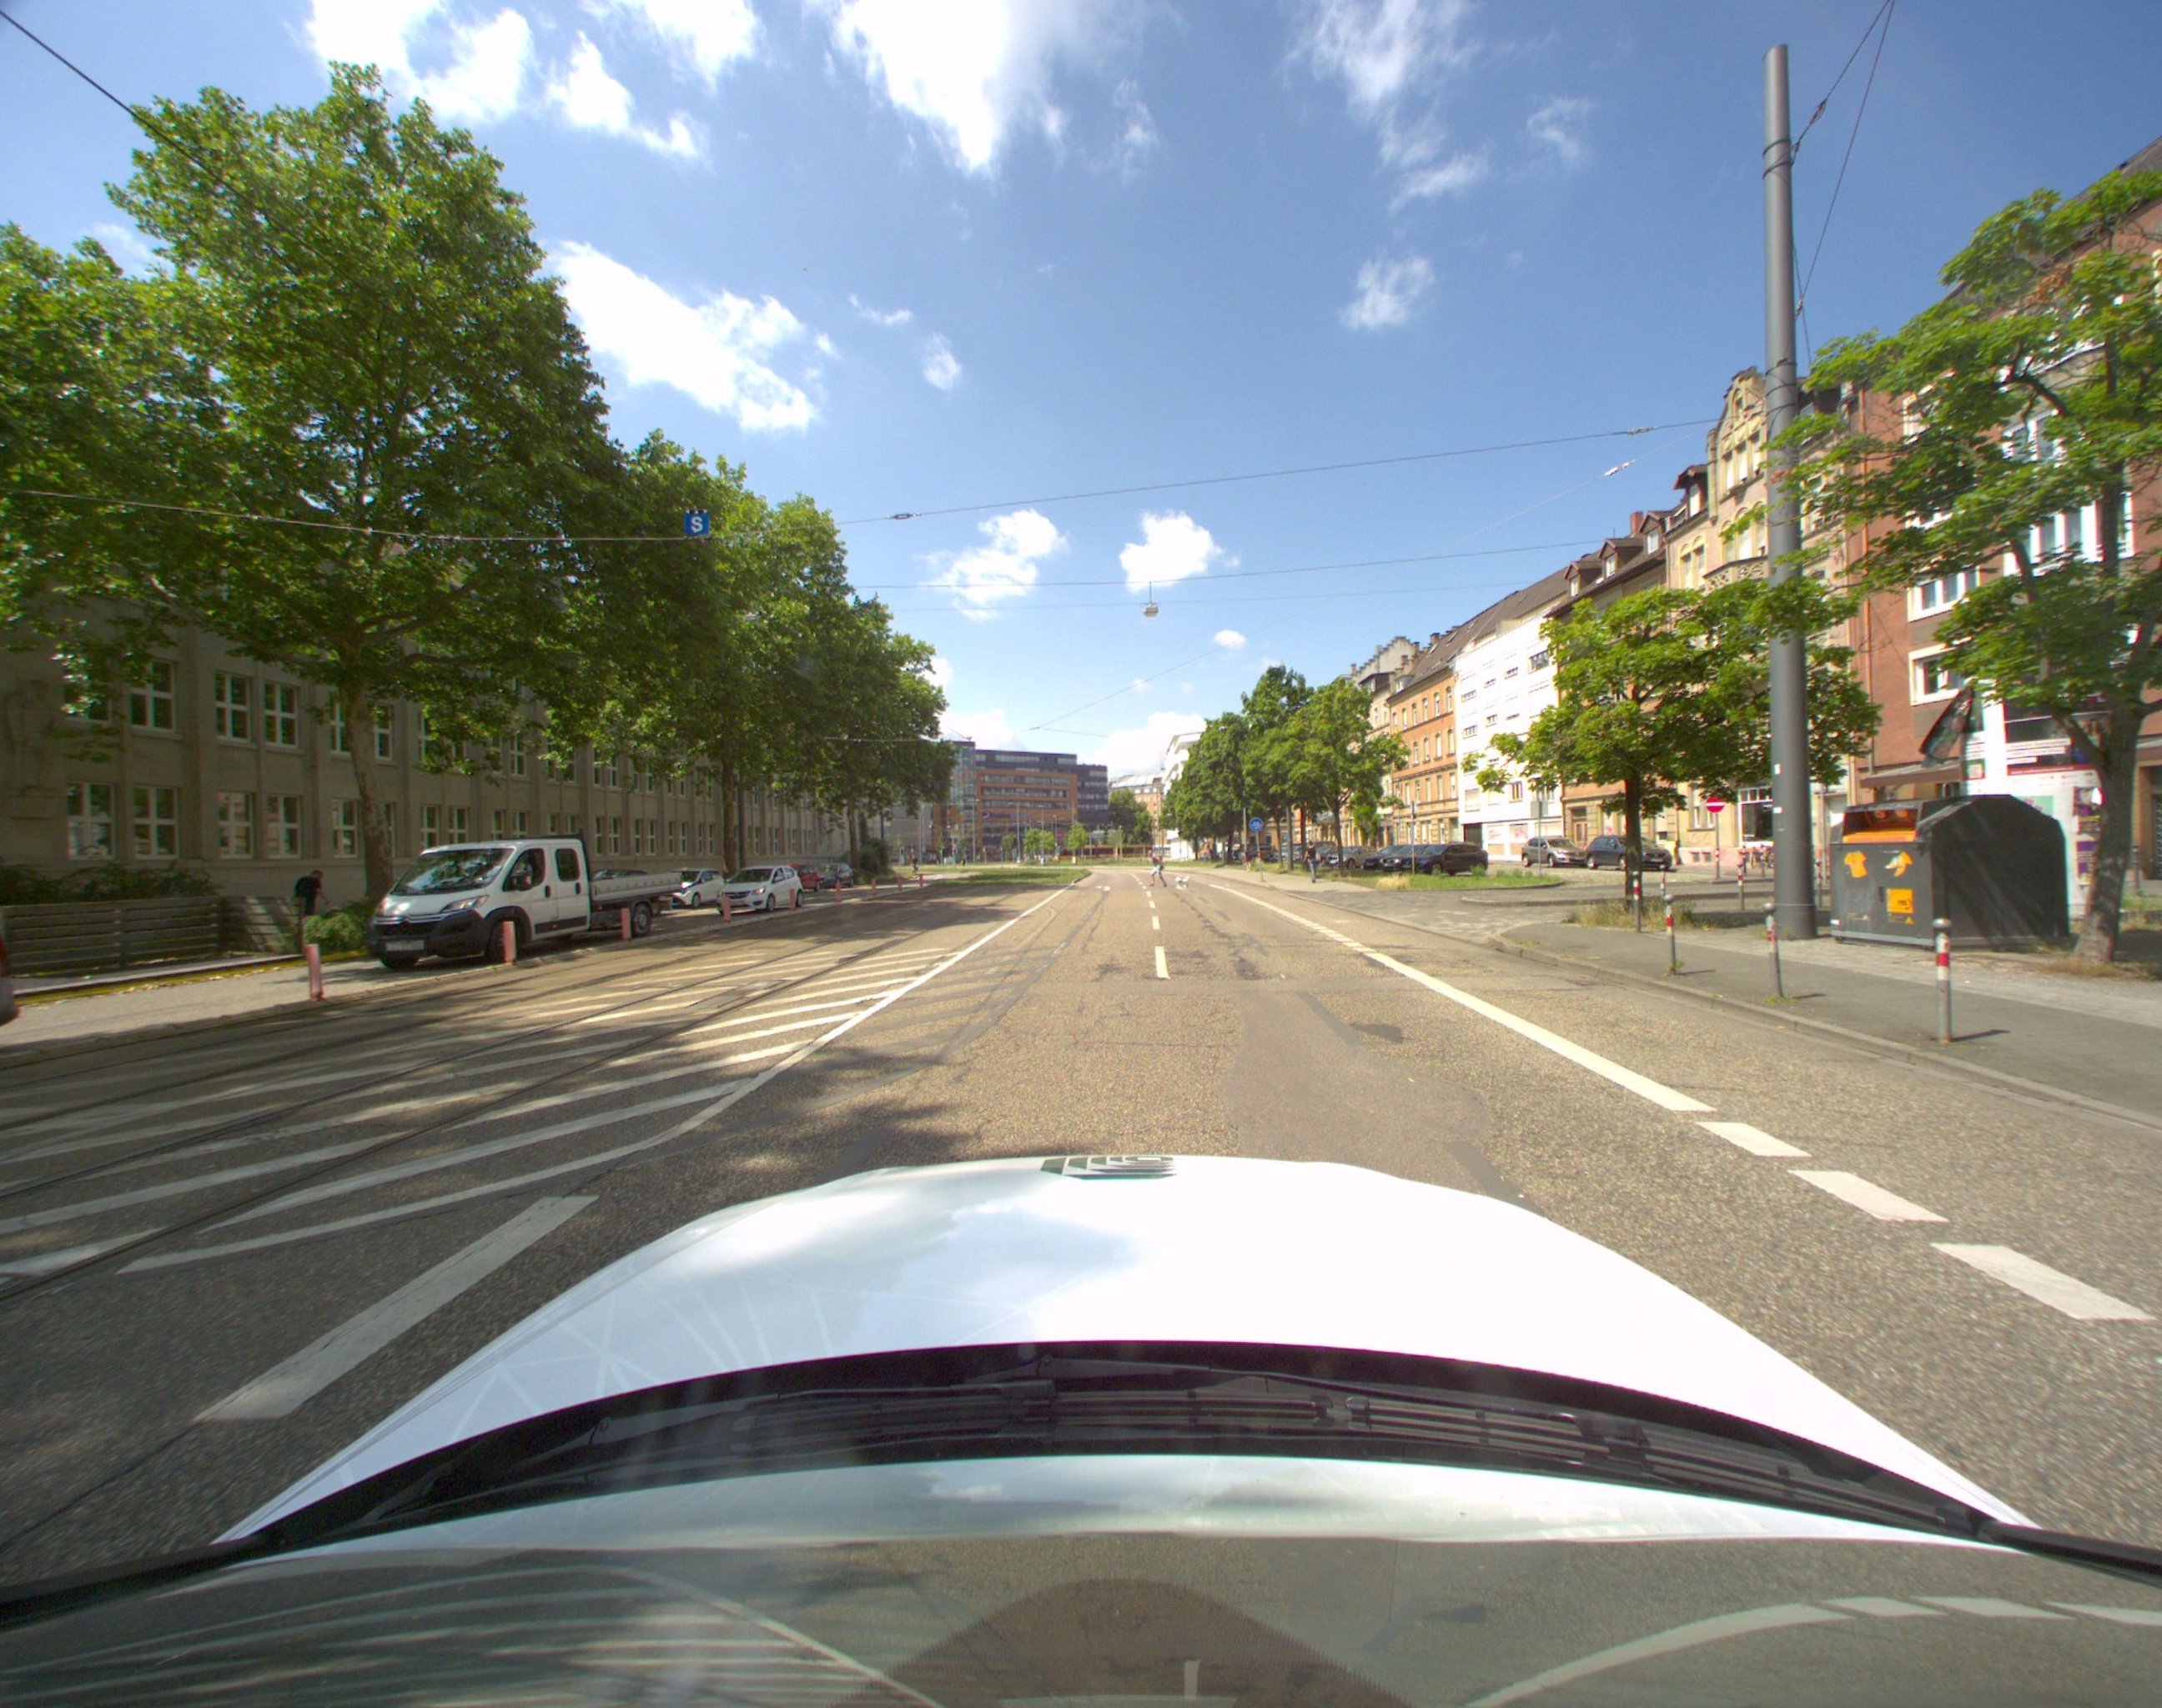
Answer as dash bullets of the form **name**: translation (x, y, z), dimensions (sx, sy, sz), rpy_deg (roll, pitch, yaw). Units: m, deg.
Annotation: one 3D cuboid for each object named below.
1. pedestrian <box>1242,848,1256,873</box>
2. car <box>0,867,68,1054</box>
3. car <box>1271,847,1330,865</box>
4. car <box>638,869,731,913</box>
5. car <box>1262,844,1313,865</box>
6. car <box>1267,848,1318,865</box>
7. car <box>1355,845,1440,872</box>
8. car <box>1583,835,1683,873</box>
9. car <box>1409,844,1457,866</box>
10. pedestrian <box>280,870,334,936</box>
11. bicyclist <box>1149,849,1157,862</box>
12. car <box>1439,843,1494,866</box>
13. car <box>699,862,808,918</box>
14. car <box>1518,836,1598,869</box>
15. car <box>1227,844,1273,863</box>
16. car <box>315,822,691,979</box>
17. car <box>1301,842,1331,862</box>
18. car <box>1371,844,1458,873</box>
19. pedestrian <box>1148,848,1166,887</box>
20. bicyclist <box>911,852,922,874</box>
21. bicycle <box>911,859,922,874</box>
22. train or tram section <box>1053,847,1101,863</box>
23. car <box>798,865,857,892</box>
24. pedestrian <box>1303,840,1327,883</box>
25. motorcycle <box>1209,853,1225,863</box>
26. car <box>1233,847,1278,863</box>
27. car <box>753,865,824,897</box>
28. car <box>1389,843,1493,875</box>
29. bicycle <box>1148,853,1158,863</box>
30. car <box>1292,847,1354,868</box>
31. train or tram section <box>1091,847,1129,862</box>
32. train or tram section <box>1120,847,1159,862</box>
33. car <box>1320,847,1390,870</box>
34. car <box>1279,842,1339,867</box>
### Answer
- **pedestrian**: translation (10.762, 0.403, 52.190), dimensions (0.697, 1.592, 0.905), rpy_deg (0, -1, 1)
- **car**: translation (-11.136, 1.050, 5.838), dimensions (1.913, 1.746, 4.539), rpy_deg (-4, -1, 2)
- **car**: translation (17.335, 0.126, 64.286), dimensions (4.710, 1.380, 1.834), rpy_deg (0, -1, -32)
- **car**: translation (-14.916, 1.351, 30.841), dimensions (1.740, 1.454, 3.492), rpy_deg (0, 0, 1)
- **car**: translation (17.874, 0.069, 70.568), dimensions (4.160, 1.741, 1.835), rpy_deg (0, -1, -28)
- **car**: translation (17.573, 0.190, 67.572), dimensions (4.100, 1.405, 1.833), rpy_deg (0, -1, -33)
- **car**: translation (16.696, 0.222, 42.955), dimensions (4.007, 1.380, 1.945), rpy_deg (0, -1, -26)
- **car**: translation (24.969, 0.002, 37.031), dimensions (1.823, 1.615, 4.502), rpy_deg (0, -1, 6)
- **car**: translation (25.393, 0.071, 58.916), dimensions (1.824, 1.492, 4.230), rpy_deg (0, -1, 3)
- **pedestrian**: translation (-19.081, 1.194, 20.095), dimensions (0.551, 1.591, 0.796), rpy_deg (0, -1, 2)
- **bicyclist**: translation (10.208, 0.216, 115.039), dimensions (0.687, 1.824, 0.962), rpy_deg (-4, 1, 28)
- **car**: translation (25.420, 0.051, 53.910), dimensions (1.824, 1.492, 4.230), rpy_deg (0, -1, 3)
- **car**: translation (-10.379, 1.100, 26.124), dimensions (1.753, 1.480, 3.789), rpy_deg (-4, 0, 2)
- **car**: translation (25.358, -0.058, 43.460), dimensions (1.824, 1.615, 4.499), rpy_deg (0, -1, 3)
- **car**: translation (17.953, -0.031, 86.257), dimensions (4.642, 1.927, 1.899), rpy_deg (0, -1, -29)
- **car**: translation (-10.886, 0.742, 16.460), dimensions (2.246, 2.374, 6.985), rpy_deg (-3, 0, 3)
- **car**: translation (26.651, -0.169, 92.662), dimensions (2.102, 2.178, 5.398), rpy_deg (0, -1, 3)
- **car**: translation (16.378, 0.225, 39.942), dimensions (4.012, 1.380, 1.942), rpy_deg (0, -1, -31)
- **pedestrian**: translation (3.366, 0.611, 36.115), dimensions (0.777, 1.704, 0.703), rpy_deg (0, -1, 4)
- **bicyclist**: translation (-12.586, 0.684, 62.310), dimensions (0.762, 1.704, 0.779), rpy_deg (0, -1, -15)
- **bicycle**: translation (-12.584, 0.978, 62.280), dimensions (0.791, 1.110, 2.266), rpy_deg (0, -1, -14)
- **train or tram section**: translation (-0.752, 0.141, 190.137), dimensions (3.185, 3.599, 13.584), rpy_deg (-1, -1, 40)
- **car**: translation (-14.240, 1.332, 46.069), dimensions (1.919, 1.369, 4.318), rpy_deg (0, 0, 1)
- **pedestrian**: translation (9.576, 0.300, 33.301), dimensions (0.697, 1.704, 1.045), rpy_deg (0, -1, 2)
- **motorcycle**: translation (15.698, 0.436, 94.087), dimensions (1.777, 1.167, 0.640), rpy_deg (-1, 0, 0)
- **car**: translation (17.855, 0.081, 83.220), dimensions (4.180, 1.656, 1.901), rpy_deg (0, -1, -25)
- **car**: translation (-14.609, 1.328, 40.931), dimensions (1.918, 1.420, 4.053), rpy_deg (0, 0, 3)
- **car**: translation (16.017, 0.220, 36.271), dimensions (4.000, 1.354, 1.948), rpy_deg (0, -1, -20)
- **bicycle**: translation (10.211, 0.530, 115.018), dimensions (0.687, 1.242, 1.851), rpy_deg (-4, 1, 28)
- **car**: translation (16.832, 0.224, 56.497), dimensions (4.286, 1.380, 1.833), rpy_deg (0, -1, -34)
- **train or tram section**: translation (7.225, 0.187, 199.405), dimensions (3.026, 3.603, 11.061), rpy_deg (-1, -1, 40)
- **train or tram section**: translation (15.055, 0.195, 208.444), dimensions (3.026, 3.621, 12.713), rpy_deg (-1, -1, 42)
- **car**: translation (16.903, 0.279, 50.166), dimensions (4.286, 1.380, 1.833), rpy_deg (0, -1, -34)
- **car**: translation (16.932, 0.046, 60.441), dimensions (4.383, 1.741, 1.833), rpy_deg (0, -1, -34)
